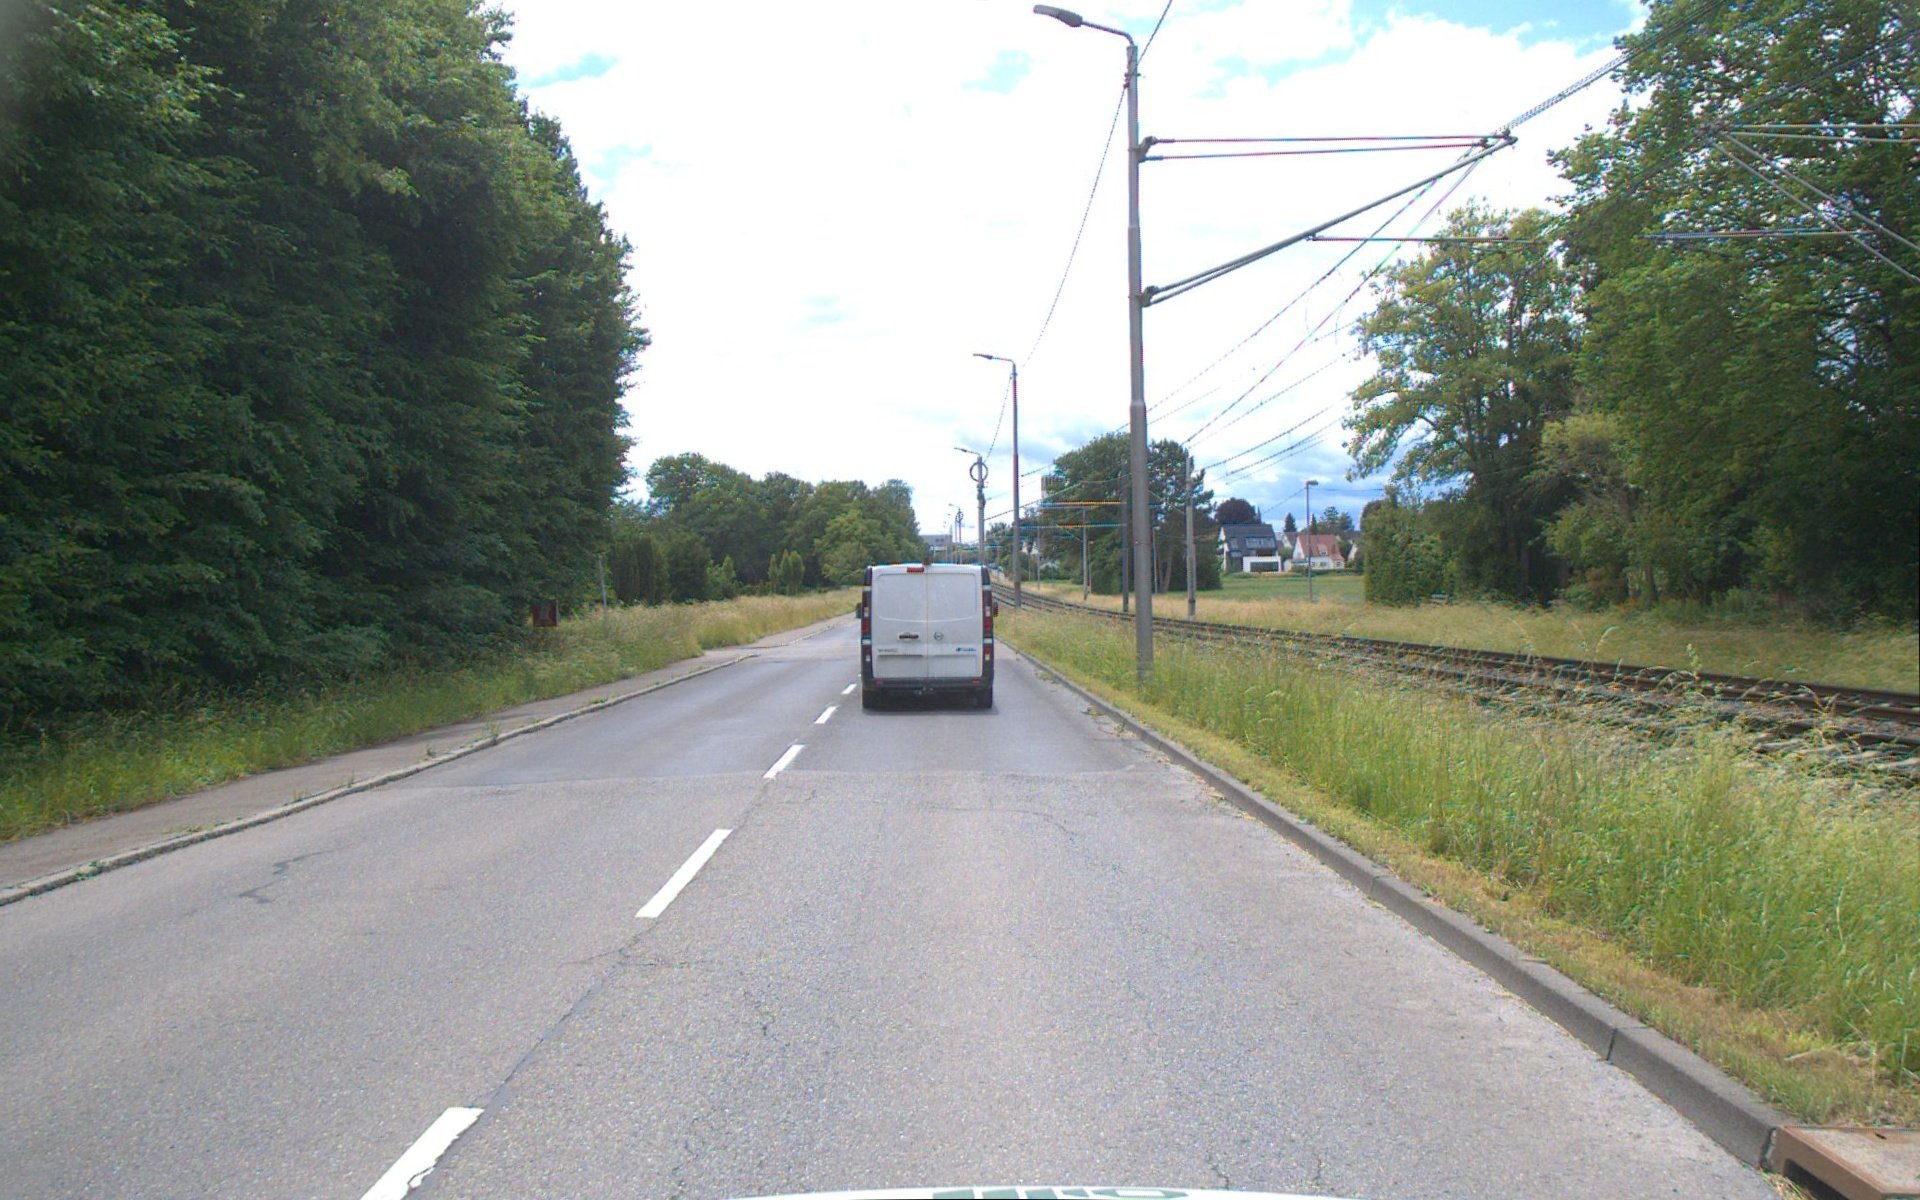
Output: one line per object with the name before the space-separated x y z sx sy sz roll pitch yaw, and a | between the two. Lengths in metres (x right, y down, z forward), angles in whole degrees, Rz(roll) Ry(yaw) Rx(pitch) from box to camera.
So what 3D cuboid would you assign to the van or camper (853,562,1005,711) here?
van or camper | -0.353 0.446 24.019 1.901 1.930 4.286 -1 1 2
